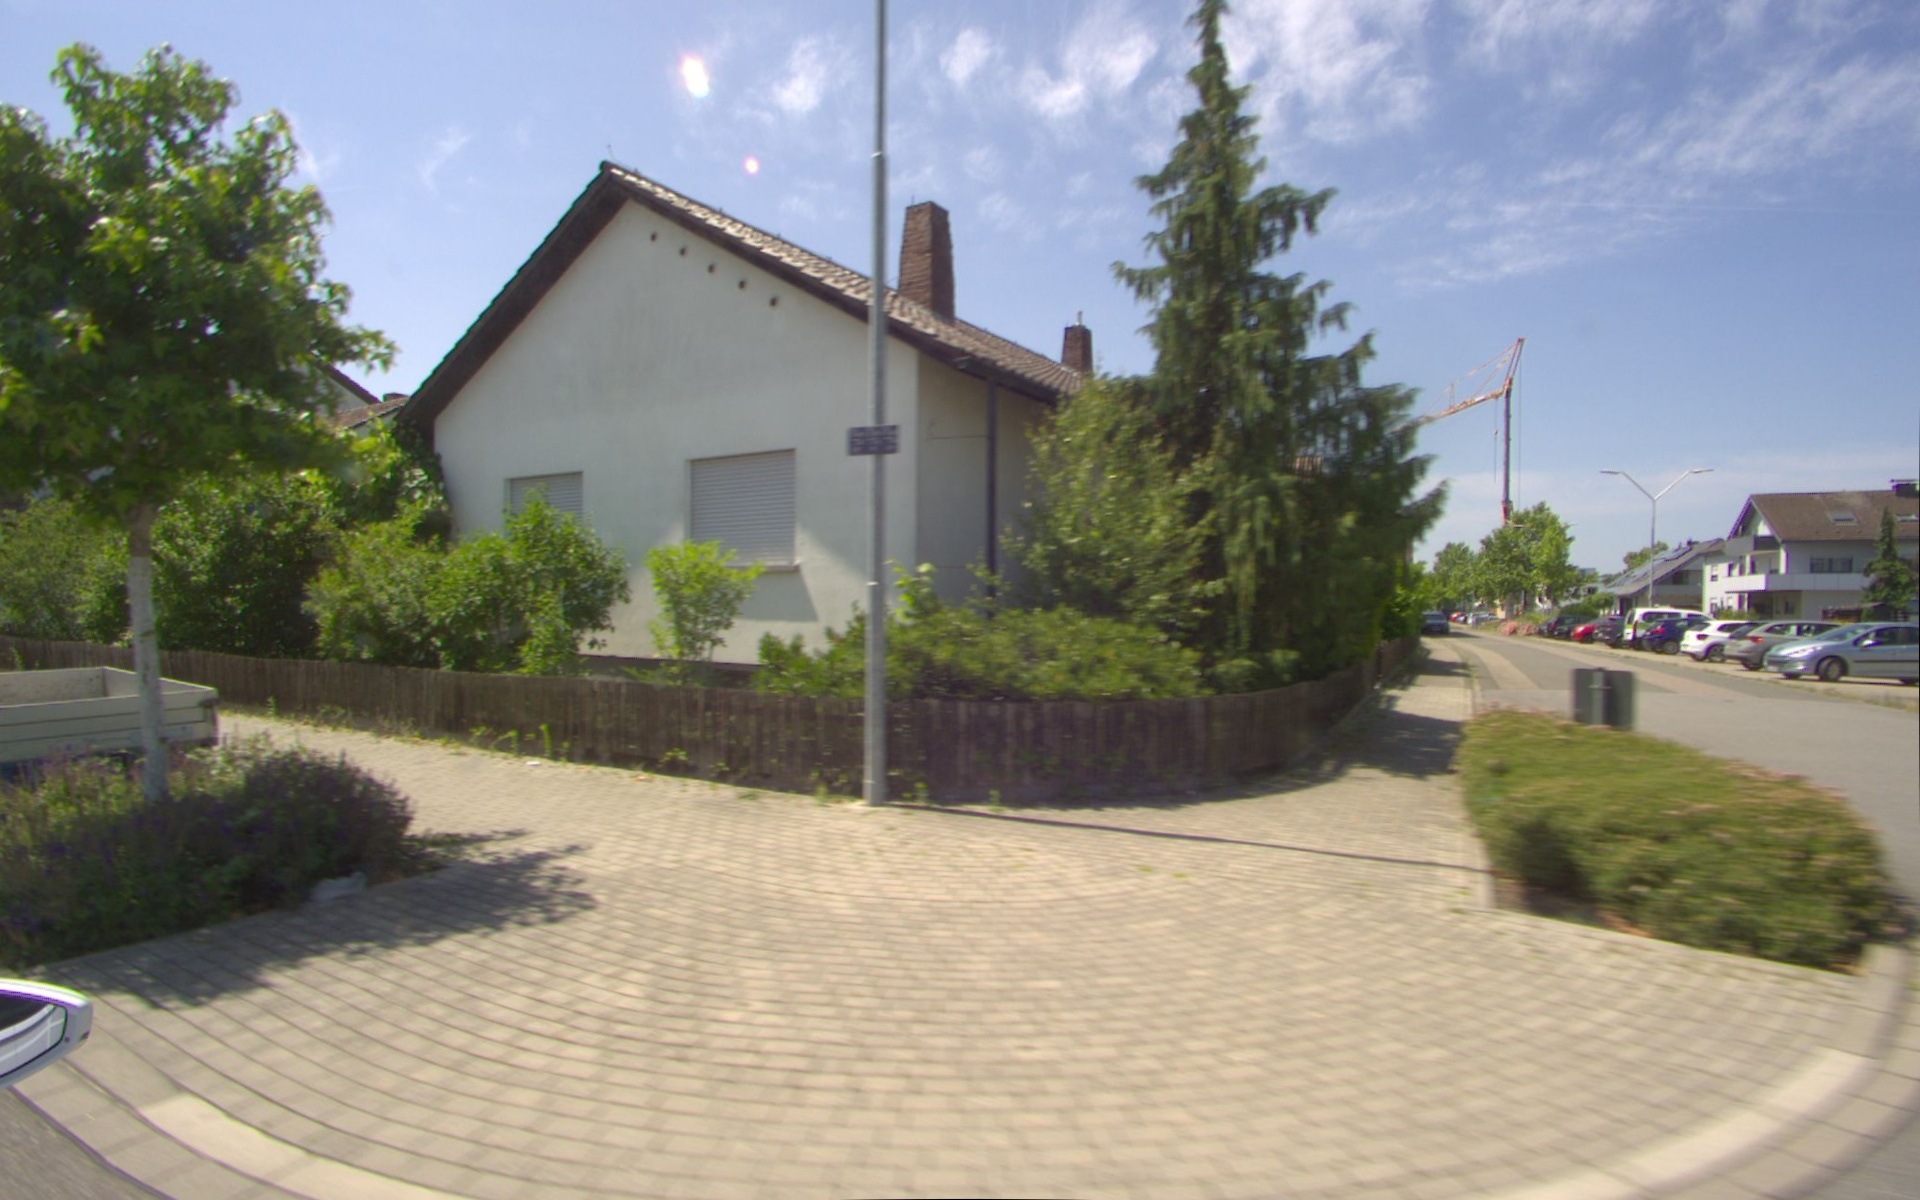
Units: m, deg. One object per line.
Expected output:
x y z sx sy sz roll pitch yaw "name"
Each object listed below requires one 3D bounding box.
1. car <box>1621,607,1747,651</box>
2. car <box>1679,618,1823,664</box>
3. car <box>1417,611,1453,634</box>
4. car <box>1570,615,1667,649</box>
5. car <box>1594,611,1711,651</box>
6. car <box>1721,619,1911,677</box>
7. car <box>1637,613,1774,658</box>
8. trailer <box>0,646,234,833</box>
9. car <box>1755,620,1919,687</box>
30.163 1.202 41.865 3.932 1.719 1.756 1 -1 22 "car"
25.992 1.341 33.033 3.446 1.374 1.511 1 -2 24 "car"
32.169 1.509 67.915 1.709 1.473 3.993 1 0 18 "car"
34.209 1.627 52.137 3.932 1.658 1.755 1 0 22 "car"
30.552 1.332 44.299 3.932 1.658 1.755 1 0 22 "car"
23.602 1.279 27.775 3.630 1.451 1.641 1 0 24 "car"
28.920 1.329 38.982 3.932 1.617 1.755 1 0 22 "car"
-7.152 0.962 7.650 2.859 1.072 1.783 1 0 35 "trailer"
21.824 1.271 24.050 3.929 1.489 1.644 1 0 15 "car"
